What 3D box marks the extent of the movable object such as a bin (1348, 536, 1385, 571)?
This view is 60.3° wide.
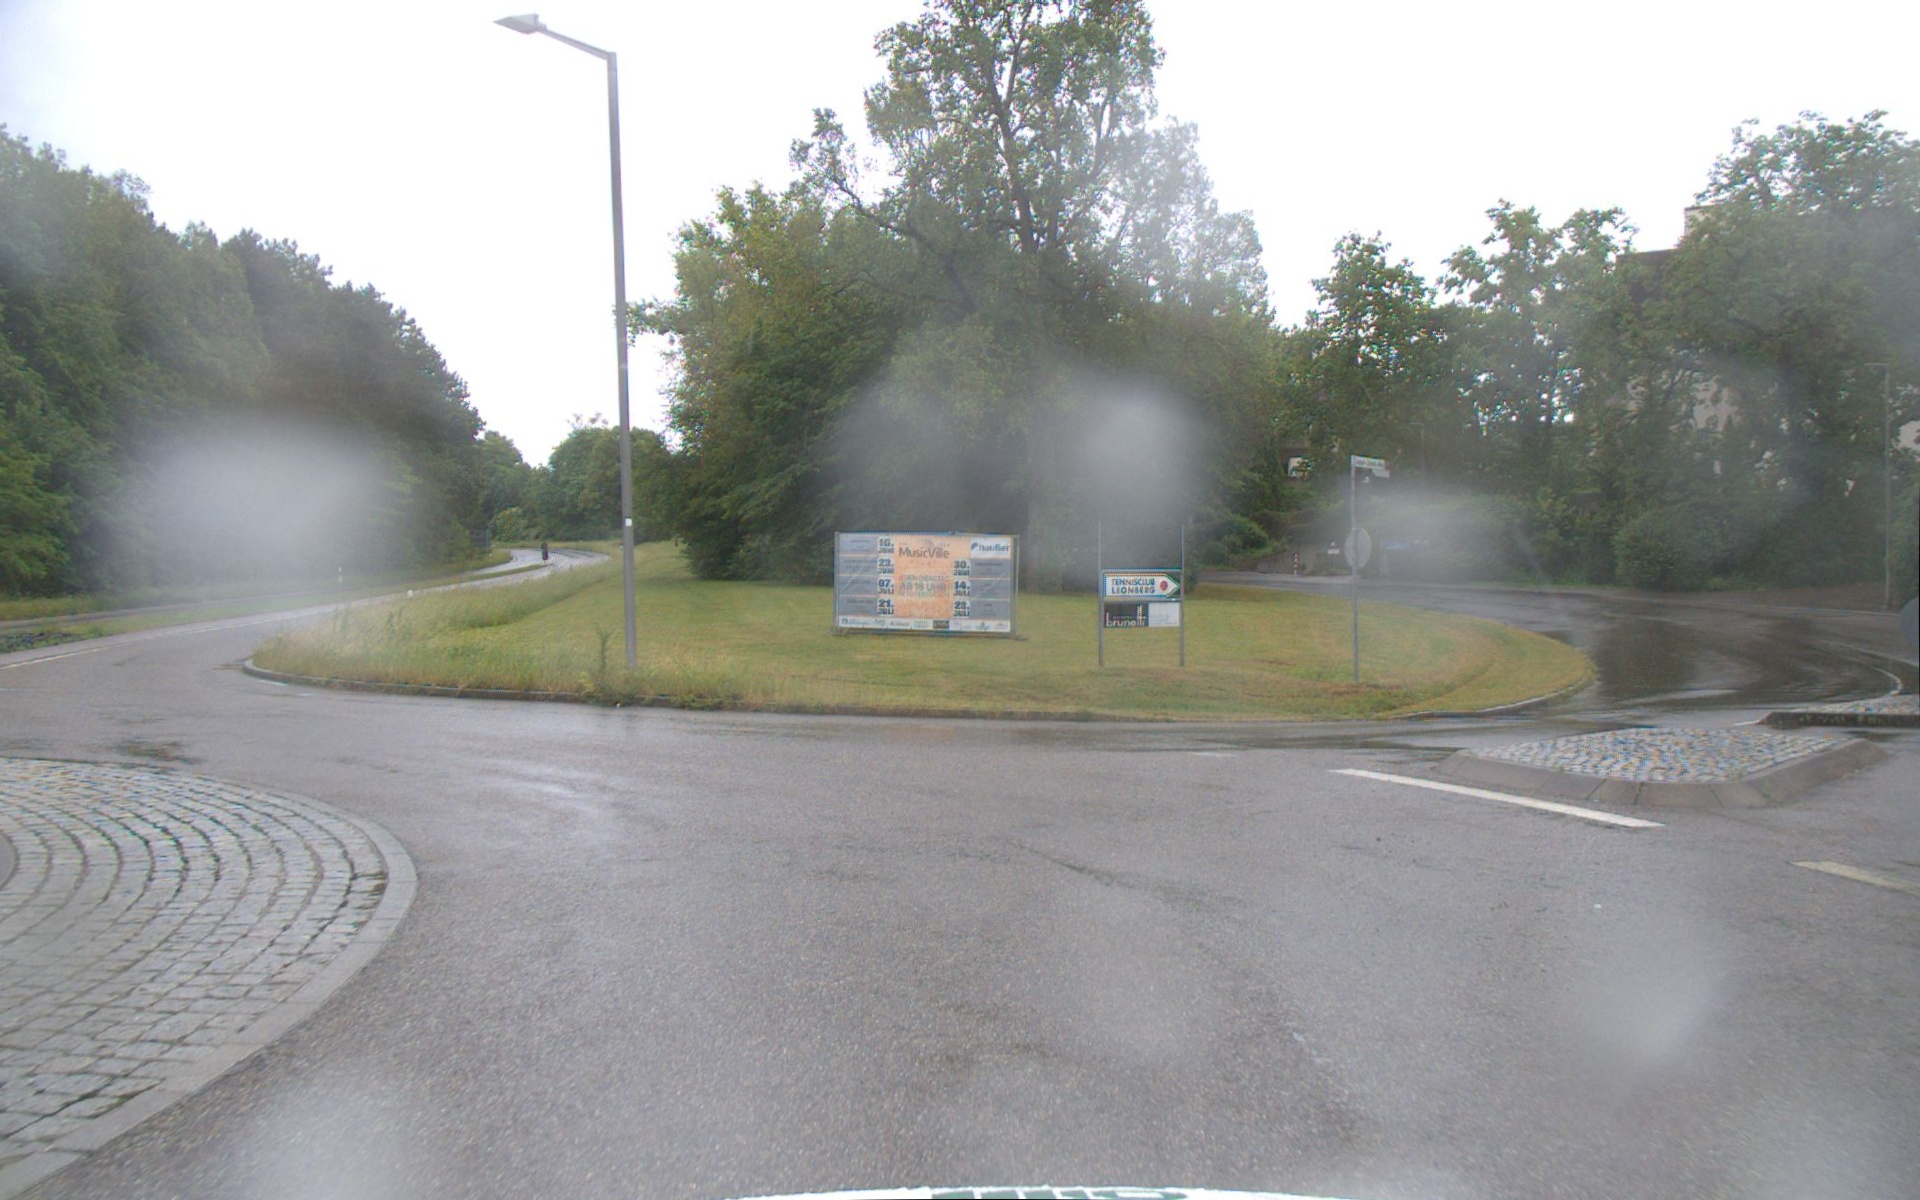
[{"bbox_3d":[17.022,-1.939,69.307,1.170,1.462,1.428,-1,1,-3],"label":"movable object such as a bin"}]
